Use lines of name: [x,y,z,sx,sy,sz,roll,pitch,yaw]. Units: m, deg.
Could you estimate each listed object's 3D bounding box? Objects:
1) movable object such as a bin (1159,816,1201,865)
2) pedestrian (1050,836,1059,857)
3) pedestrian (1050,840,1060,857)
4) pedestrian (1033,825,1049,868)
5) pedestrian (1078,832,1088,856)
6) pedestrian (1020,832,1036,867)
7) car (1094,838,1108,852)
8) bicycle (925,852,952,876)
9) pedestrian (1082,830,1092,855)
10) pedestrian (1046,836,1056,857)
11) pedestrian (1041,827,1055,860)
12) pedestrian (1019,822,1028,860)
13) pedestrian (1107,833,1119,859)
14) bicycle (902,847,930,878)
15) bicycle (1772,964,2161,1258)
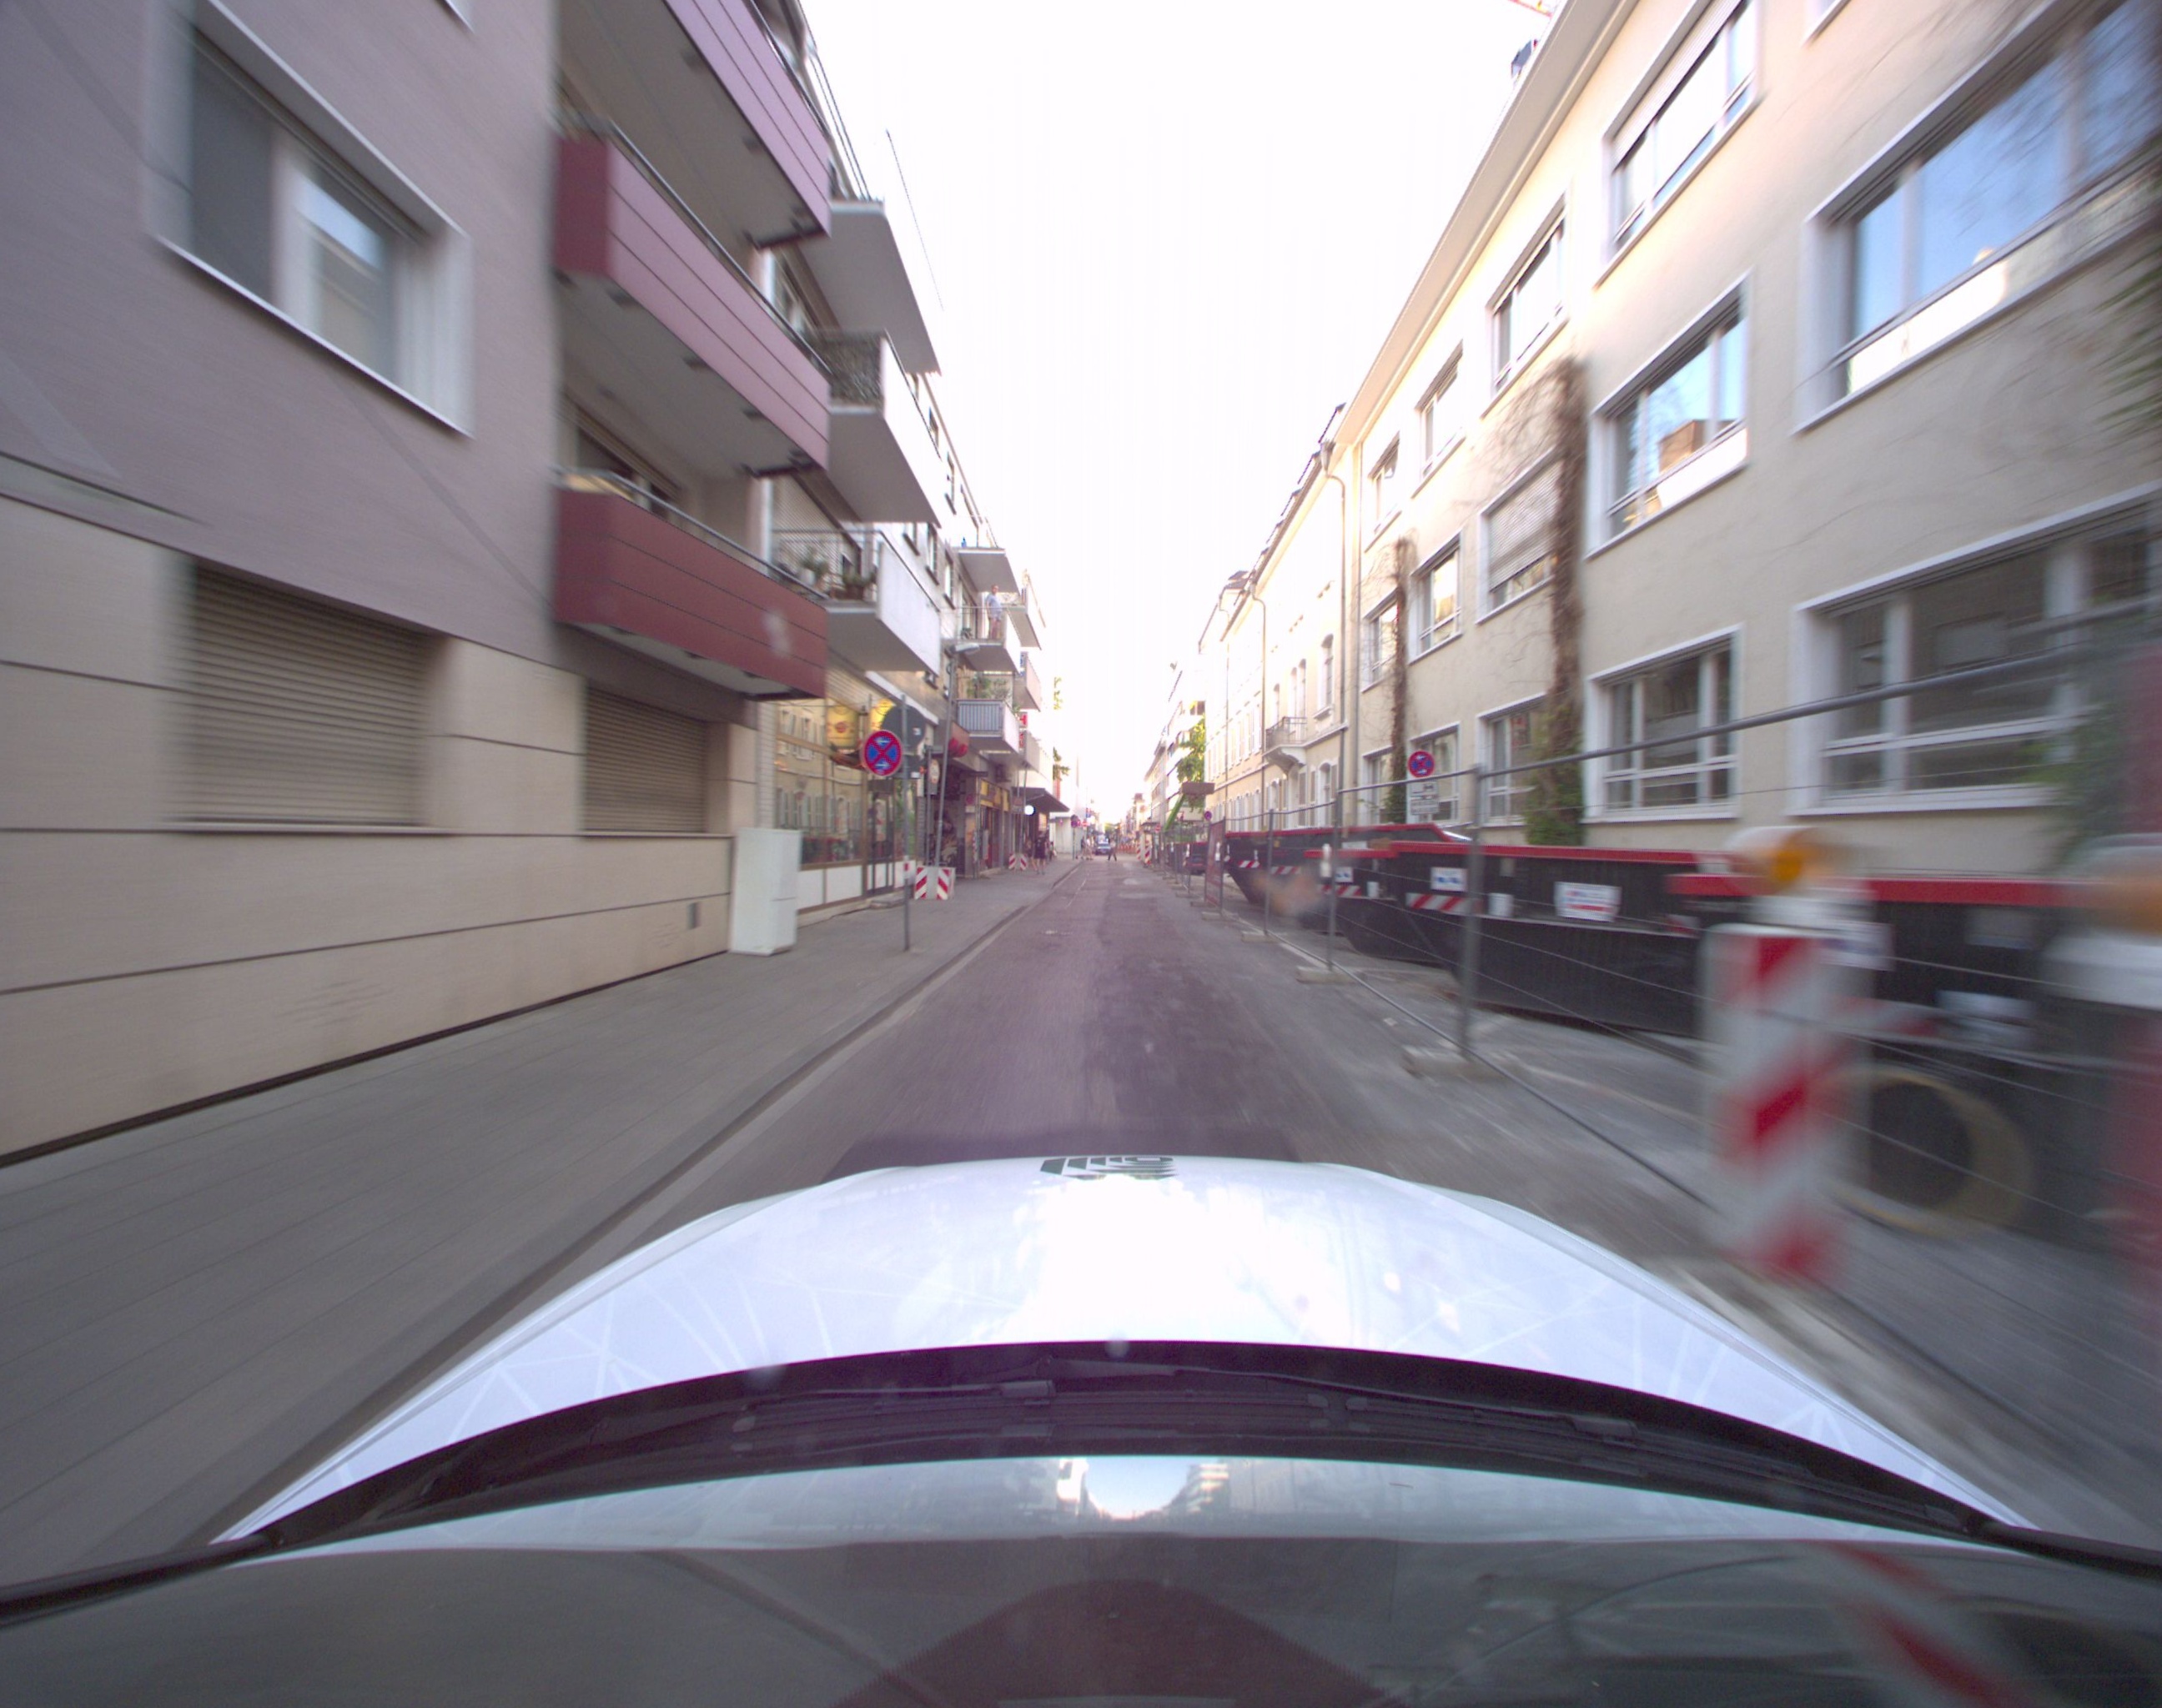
movable object such as a bin: [6.706,-0.959,55.769,2.461,3.130,4.300,1,2,2]
pedestrian: [-1.773,-0.499,54.899,0.540,1.387,0.626,0,1,2]
pedestrian: [-1.835,-0.382,57.742,0.616,1.171,0.788,0,1,1]
pedestrian: [-1.683,-0.306,34.406,0.626,1.808,0.648,0,1,3]
pedestrian: [0.137,-0.796,62.331,0.646,1.809,0.628,0,1,-15]
pedestrian: [-2.431,-0.212,37.298,0.646,1.564,0.628,0,1,-13]
car: [2.189,-0.994,87.340,1.468,1.398,3.334,1,1,2]
bicycle: [-4.782,0.319,27.378,0.520,0.761,1.748,0,1,2]
pedestrian: [0.468,-0.873,61.376,0.646,1.809,0.628,0,1,-15]
pedestrian: [-1.960,-0.485,53.938,0.556,1.390,0.893,1,1,2]
pedestrian: [-1.883,-0.603,46.816,0.567,1.886,0.660,1,1,25]
pedestrian: [-3.091,-0.679,43.683,0.409,2.013,0.454,0,1,-1]
pedestrian: [2.125,-0.538,54.414,0.715,1.740,0.650,1,1,12]
bicycle: [-5.545,0.270,27.510,0.520,1.009,1.748,0,1,2]
bicycle: [3.733,0.981,3.206,1.472,0.897,0.399,2,2,30]
